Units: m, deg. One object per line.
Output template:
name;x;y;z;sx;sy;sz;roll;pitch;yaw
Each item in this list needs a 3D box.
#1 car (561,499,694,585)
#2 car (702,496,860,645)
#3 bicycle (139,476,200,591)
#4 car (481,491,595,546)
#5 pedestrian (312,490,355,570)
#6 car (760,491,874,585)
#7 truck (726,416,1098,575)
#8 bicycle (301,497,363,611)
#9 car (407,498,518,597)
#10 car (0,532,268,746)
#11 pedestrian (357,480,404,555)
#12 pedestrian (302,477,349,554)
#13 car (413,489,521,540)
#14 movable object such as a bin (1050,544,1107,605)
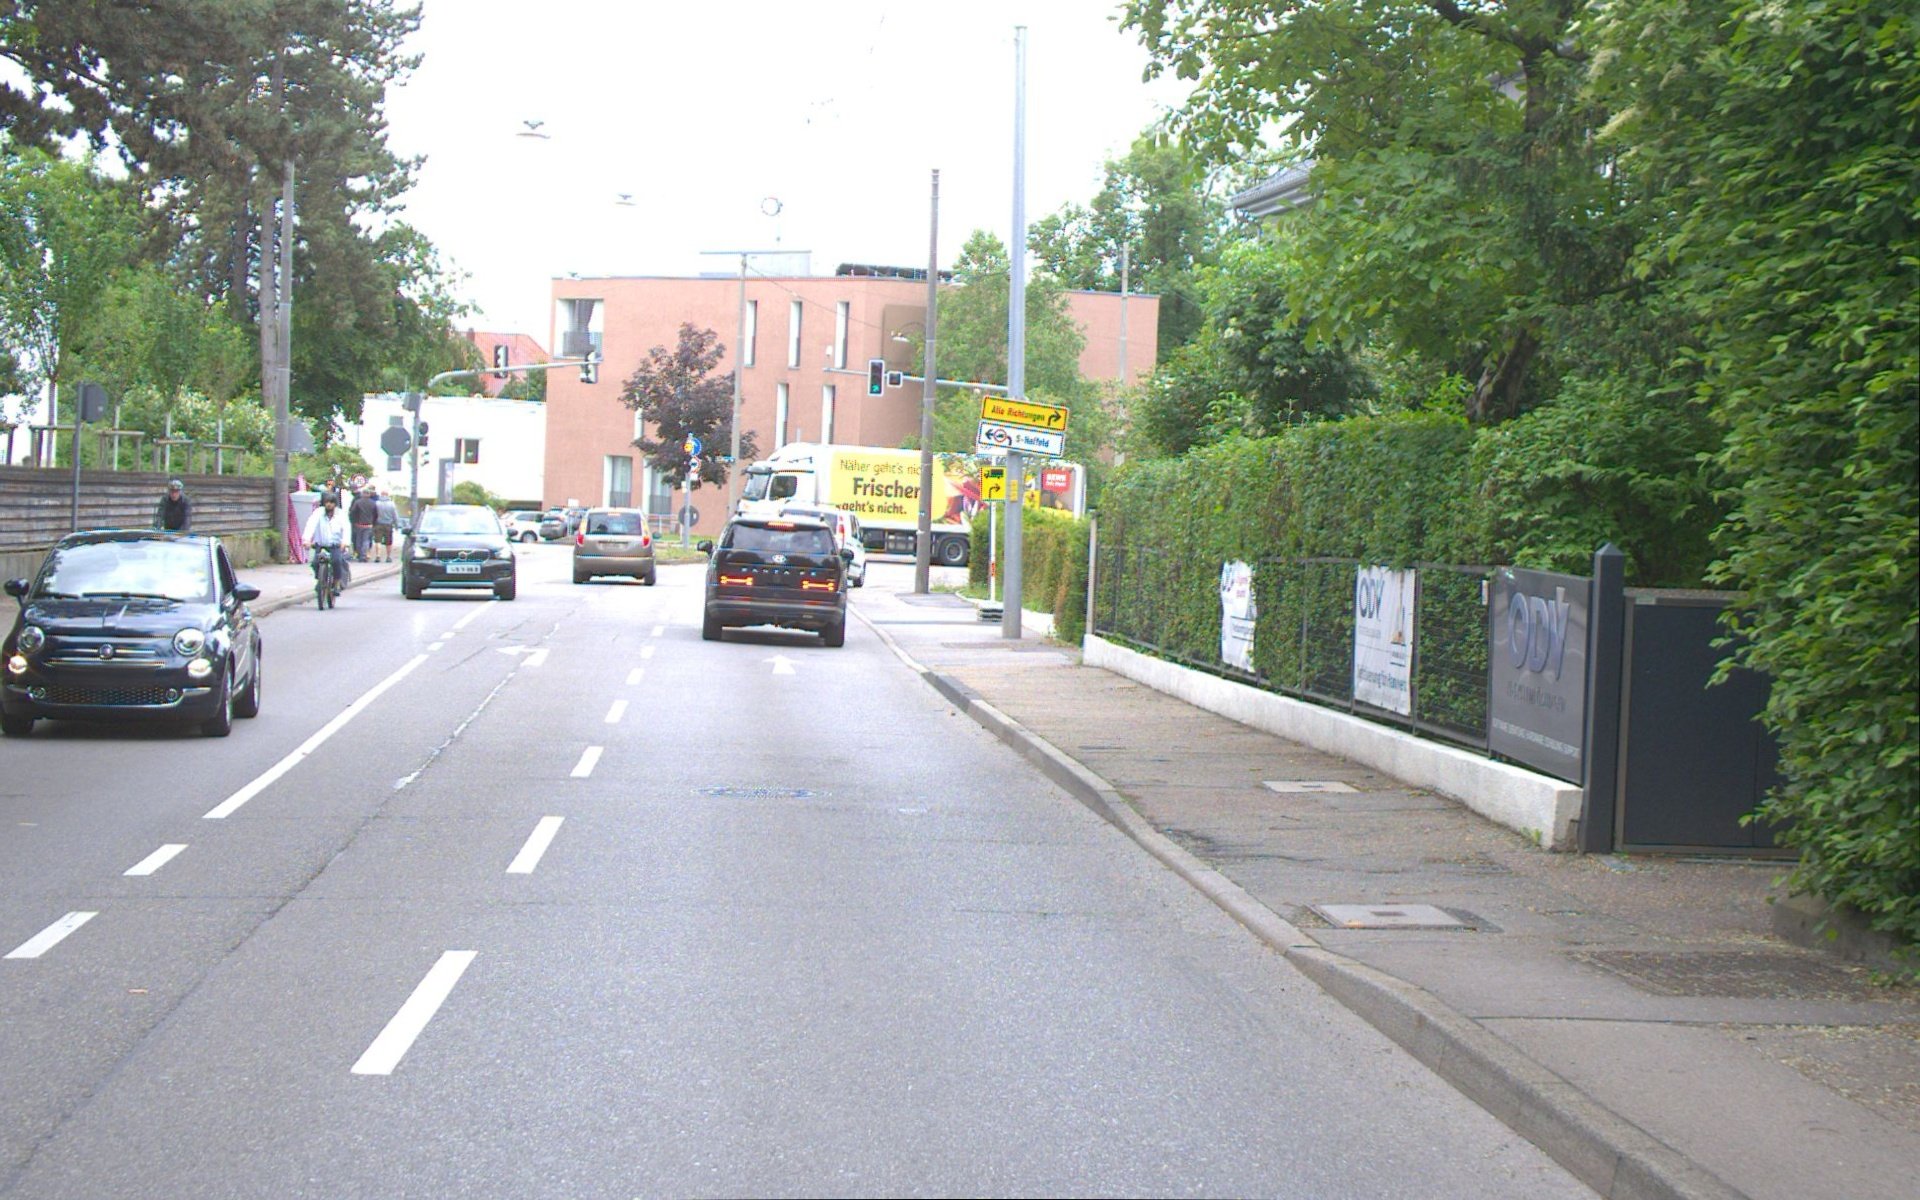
car;-6.998;-1.233;72.694;1.894;1.700;3.999;3;2;7
car;-2.457;-0.409;46.920;1.993;1.875;4.001;2;1;-3
bicycle;-11.941;-1.017;51.974;0.561;1.670;1.981;3;1;-5
car;-16.890;-3.259;137.561;3.987;2.006;2.000;1;2;-32
pedestrian;-14.647;-1.628;80.409;0.750;1.831;0.614;1;2;-33
car;-3.441;-1.530;83.582;1.962;2.006;4.427;5;3;6
truck;-1.567;-3.439;114.026;11.752;4.718;3.137;2;2;-20
bicycle;-9.783;-0.732;53.597;0.758;1.738;1.872;1;2;-5
car;-8.706;-0.944;59.960;1.831;1.625;4.284;0;2;-9
car;-6.147;0.241;25.892;1.719;1.466;3.532;0;2;-10
pedestrian;-13.665;-1.955;81.069;0.695;1.728;0.751;4;2;41
pedestrian;-14.813;-1.981;80.241;0.815;1.757;0.868;2;2;-26
car;-20.746;-3.589;144.632;3.987;2.006;2.000;1;2;-31
movable object such as a bin;2.218;-0.476;64.424;0.714;1.070;0.682;3;1;-41
